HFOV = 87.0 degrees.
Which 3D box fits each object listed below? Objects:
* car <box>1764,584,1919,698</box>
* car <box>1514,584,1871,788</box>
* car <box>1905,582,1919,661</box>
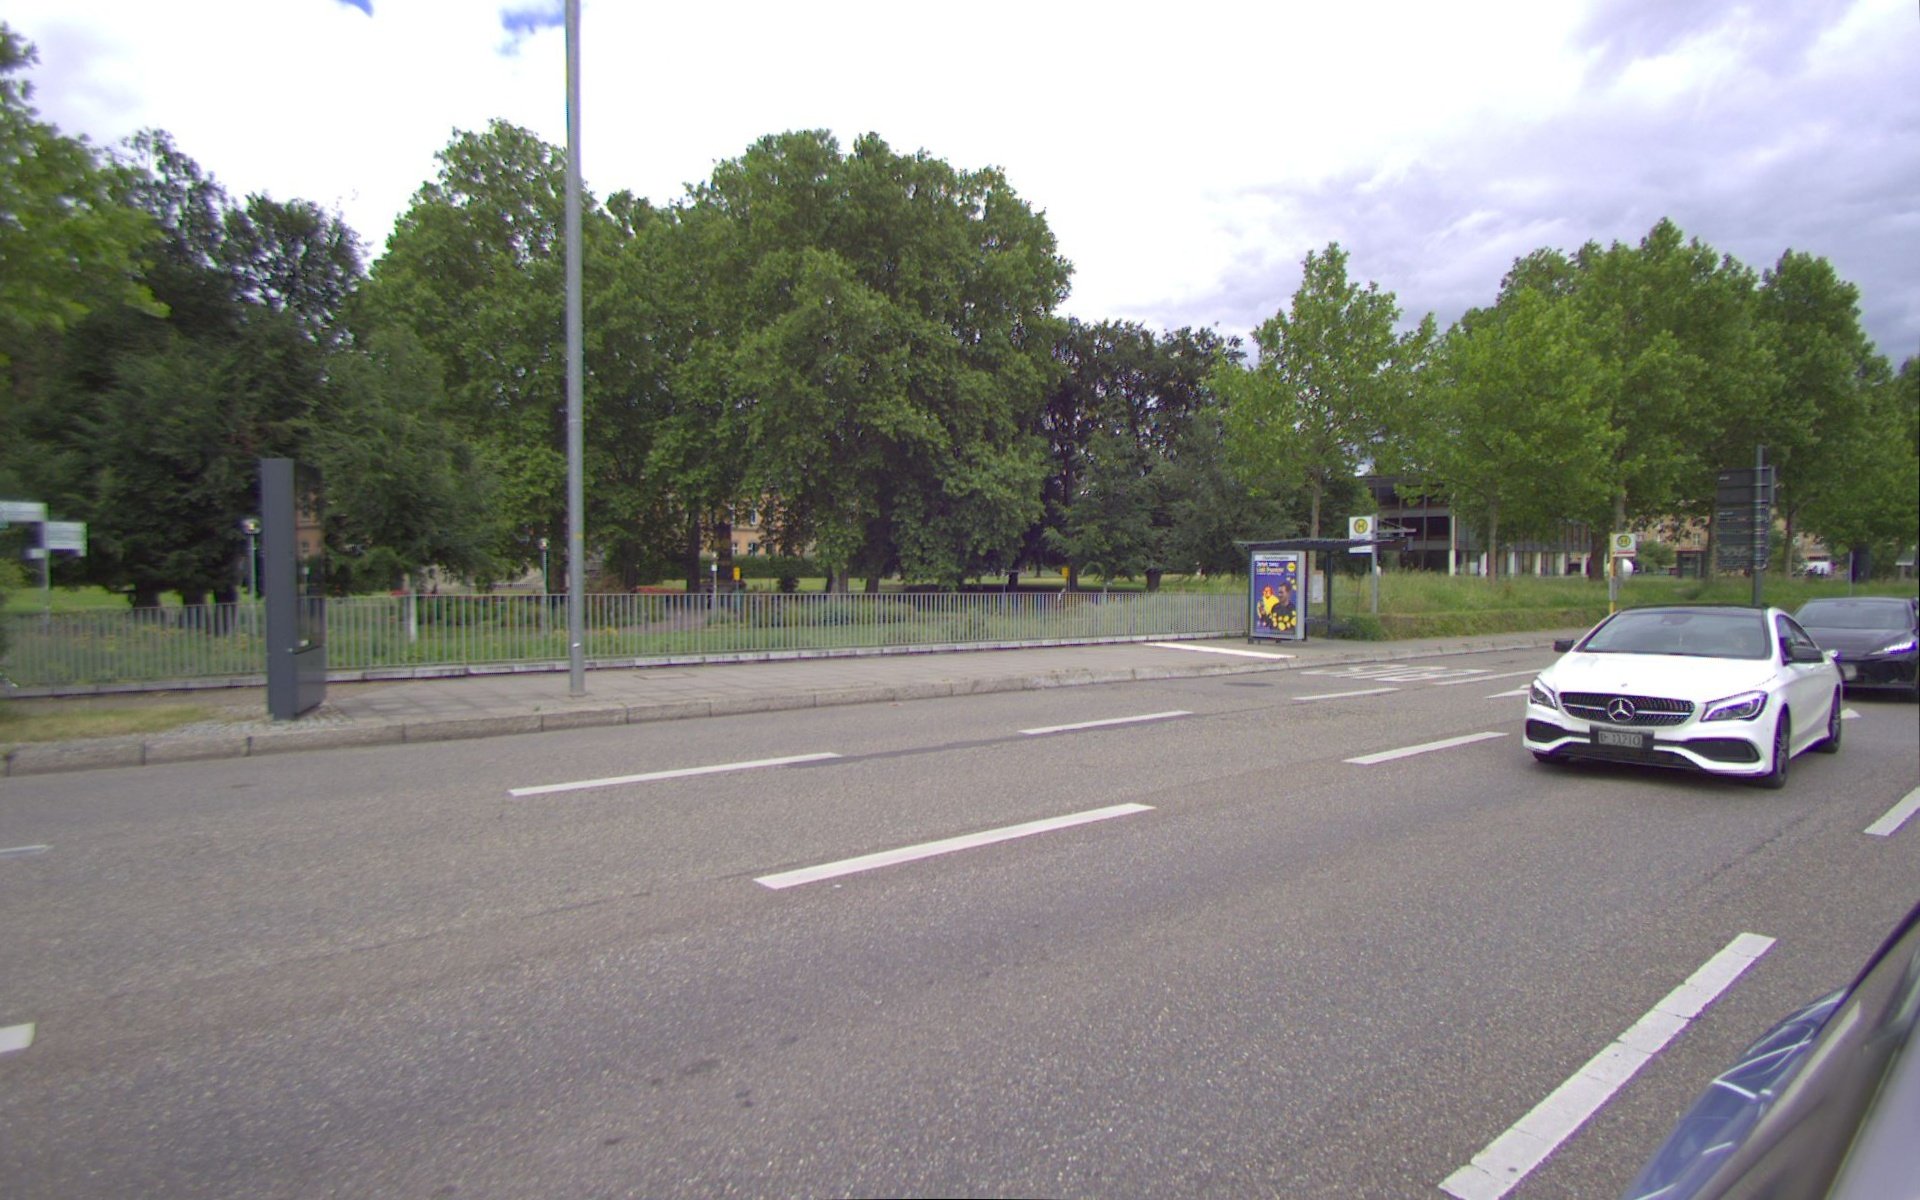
[{"bbox_3d":[14.044,0.547,15.616,4.047,1.543,1.828,0,0,-40],"label":"car"},{"bbox_3d":[6.878,0.584,9.303,4.428,1.441,1.722,-1,1,-41],"label":"car"},{"bbox_3d":[20.805,0.395,20.752,3.930,1.556,1.572,-1,1,-39],"label":"car"}]
